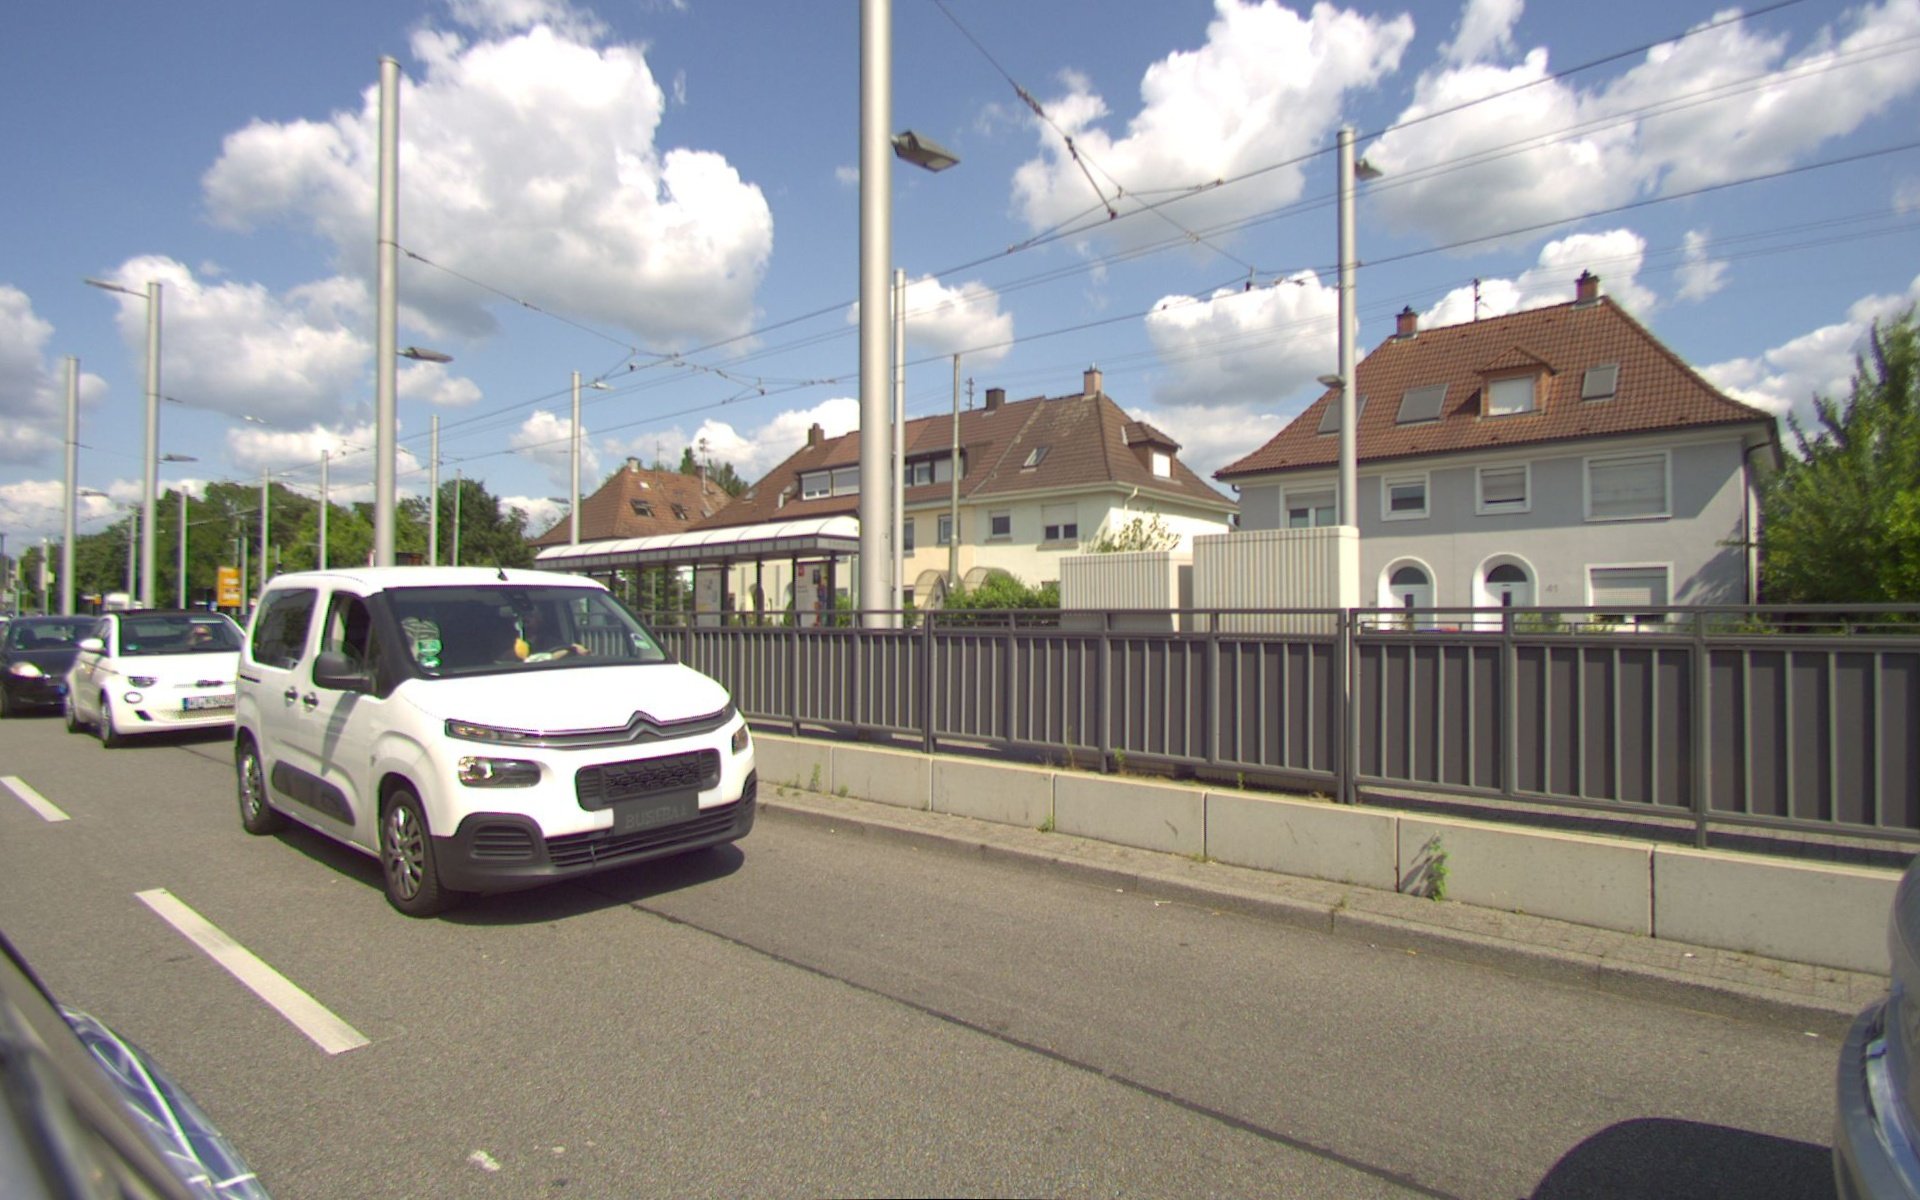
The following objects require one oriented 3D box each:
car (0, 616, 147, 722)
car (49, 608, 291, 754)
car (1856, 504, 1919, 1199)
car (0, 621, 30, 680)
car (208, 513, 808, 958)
[{"bbox_3d":[-14.104,0.978,15.696,3.556,1.433,1.659,-1,0,40],"label":"car"},{"bbox_3d":[-9.733,0.888,12.397,3.390,1.515,1.659,-1,0,40],"label":"car"},{"bbox_3d":[3.371,0.612,0.208,4.720,1.483,1.776,-1,0,41],"label":"car"},{"bbox_3d":[-24.798,1.244,25.396,4.497,1.368,1.676,-1,0,41],"label":"car"},{"bbox_3d":[-3.033,0.568,6.274,4.328,1.829,1.776,-1,0,42],"label":"car"}]
